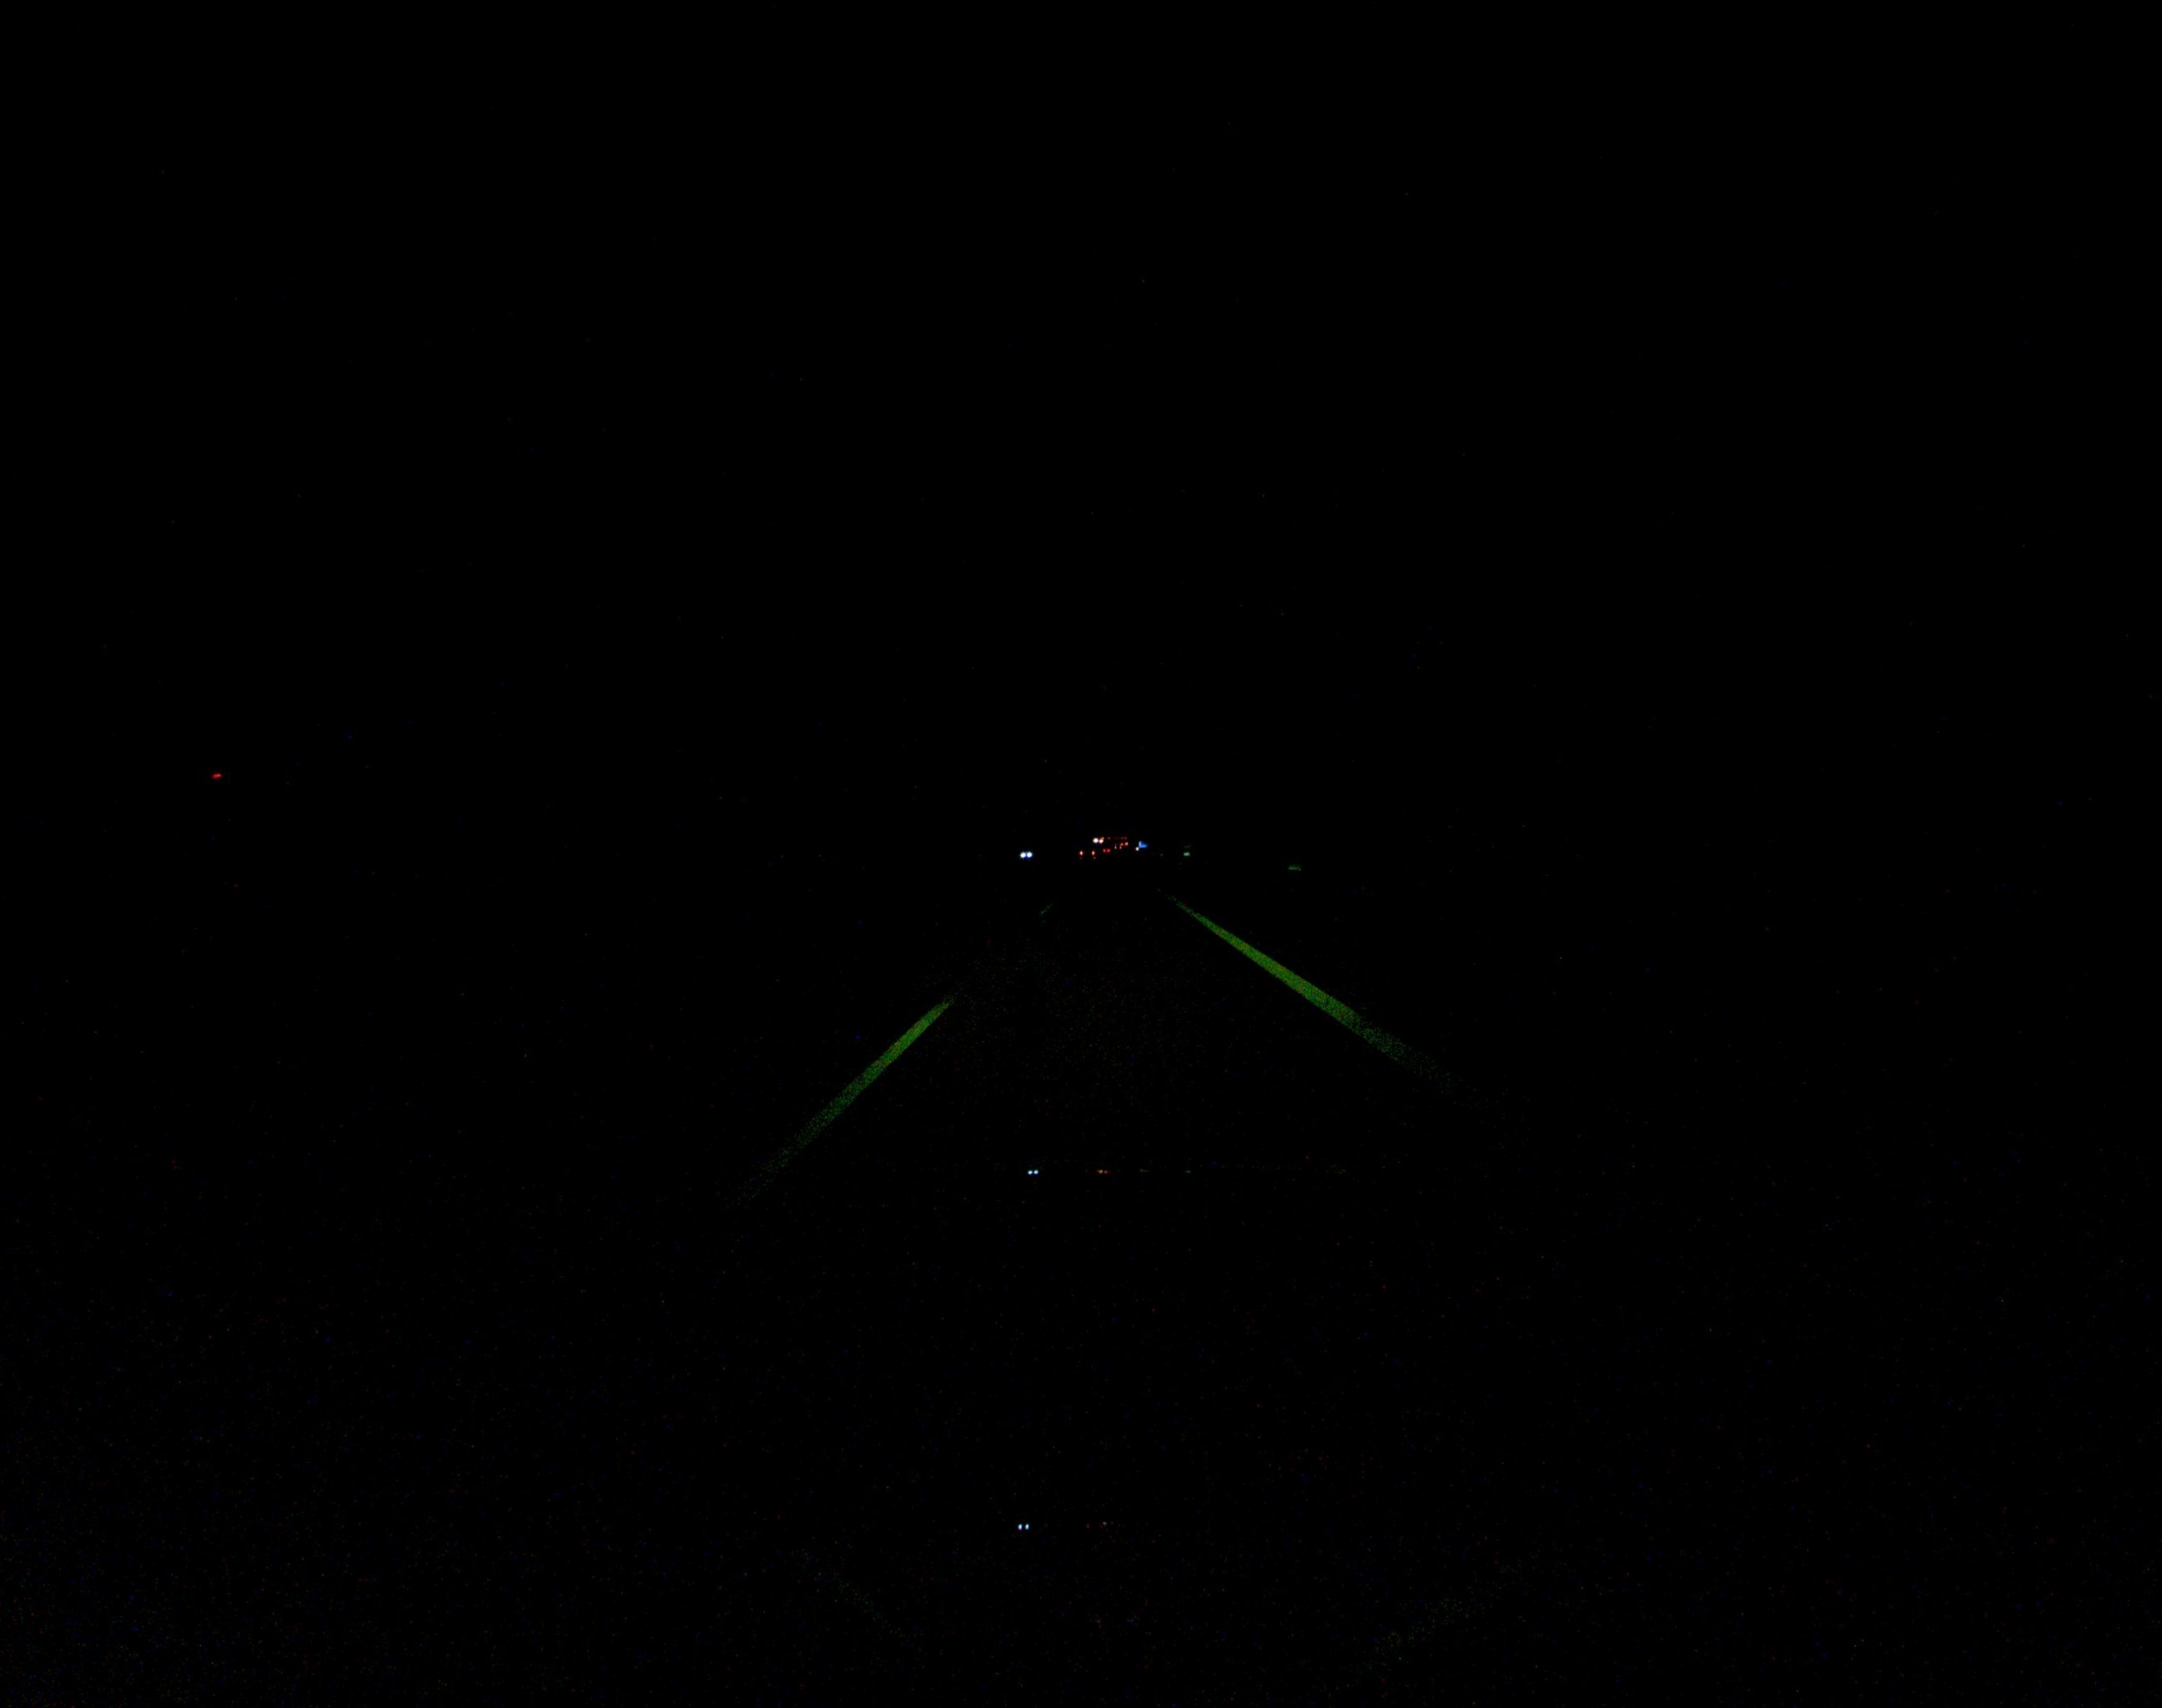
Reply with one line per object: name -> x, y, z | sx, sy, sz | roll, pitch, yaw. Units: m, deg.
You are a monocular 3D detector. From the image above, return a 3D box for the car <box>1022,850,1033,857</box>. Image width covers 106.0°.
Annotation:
car -> -13.456, -0.119, 205.006 | 1.985, 1.745, 5.075 | -1, 0, 2

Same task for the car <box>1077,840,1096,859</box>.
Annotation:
car -> 0.882, -0.608, 123.816 | 2.777, 2.733, 6.298 | -1, -1, 0

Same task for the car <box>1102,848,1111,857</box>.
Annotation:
car -> 8.043, -0.555, 259.586 | 2.776, 2.733, 6.302 | -1, -1, 2
